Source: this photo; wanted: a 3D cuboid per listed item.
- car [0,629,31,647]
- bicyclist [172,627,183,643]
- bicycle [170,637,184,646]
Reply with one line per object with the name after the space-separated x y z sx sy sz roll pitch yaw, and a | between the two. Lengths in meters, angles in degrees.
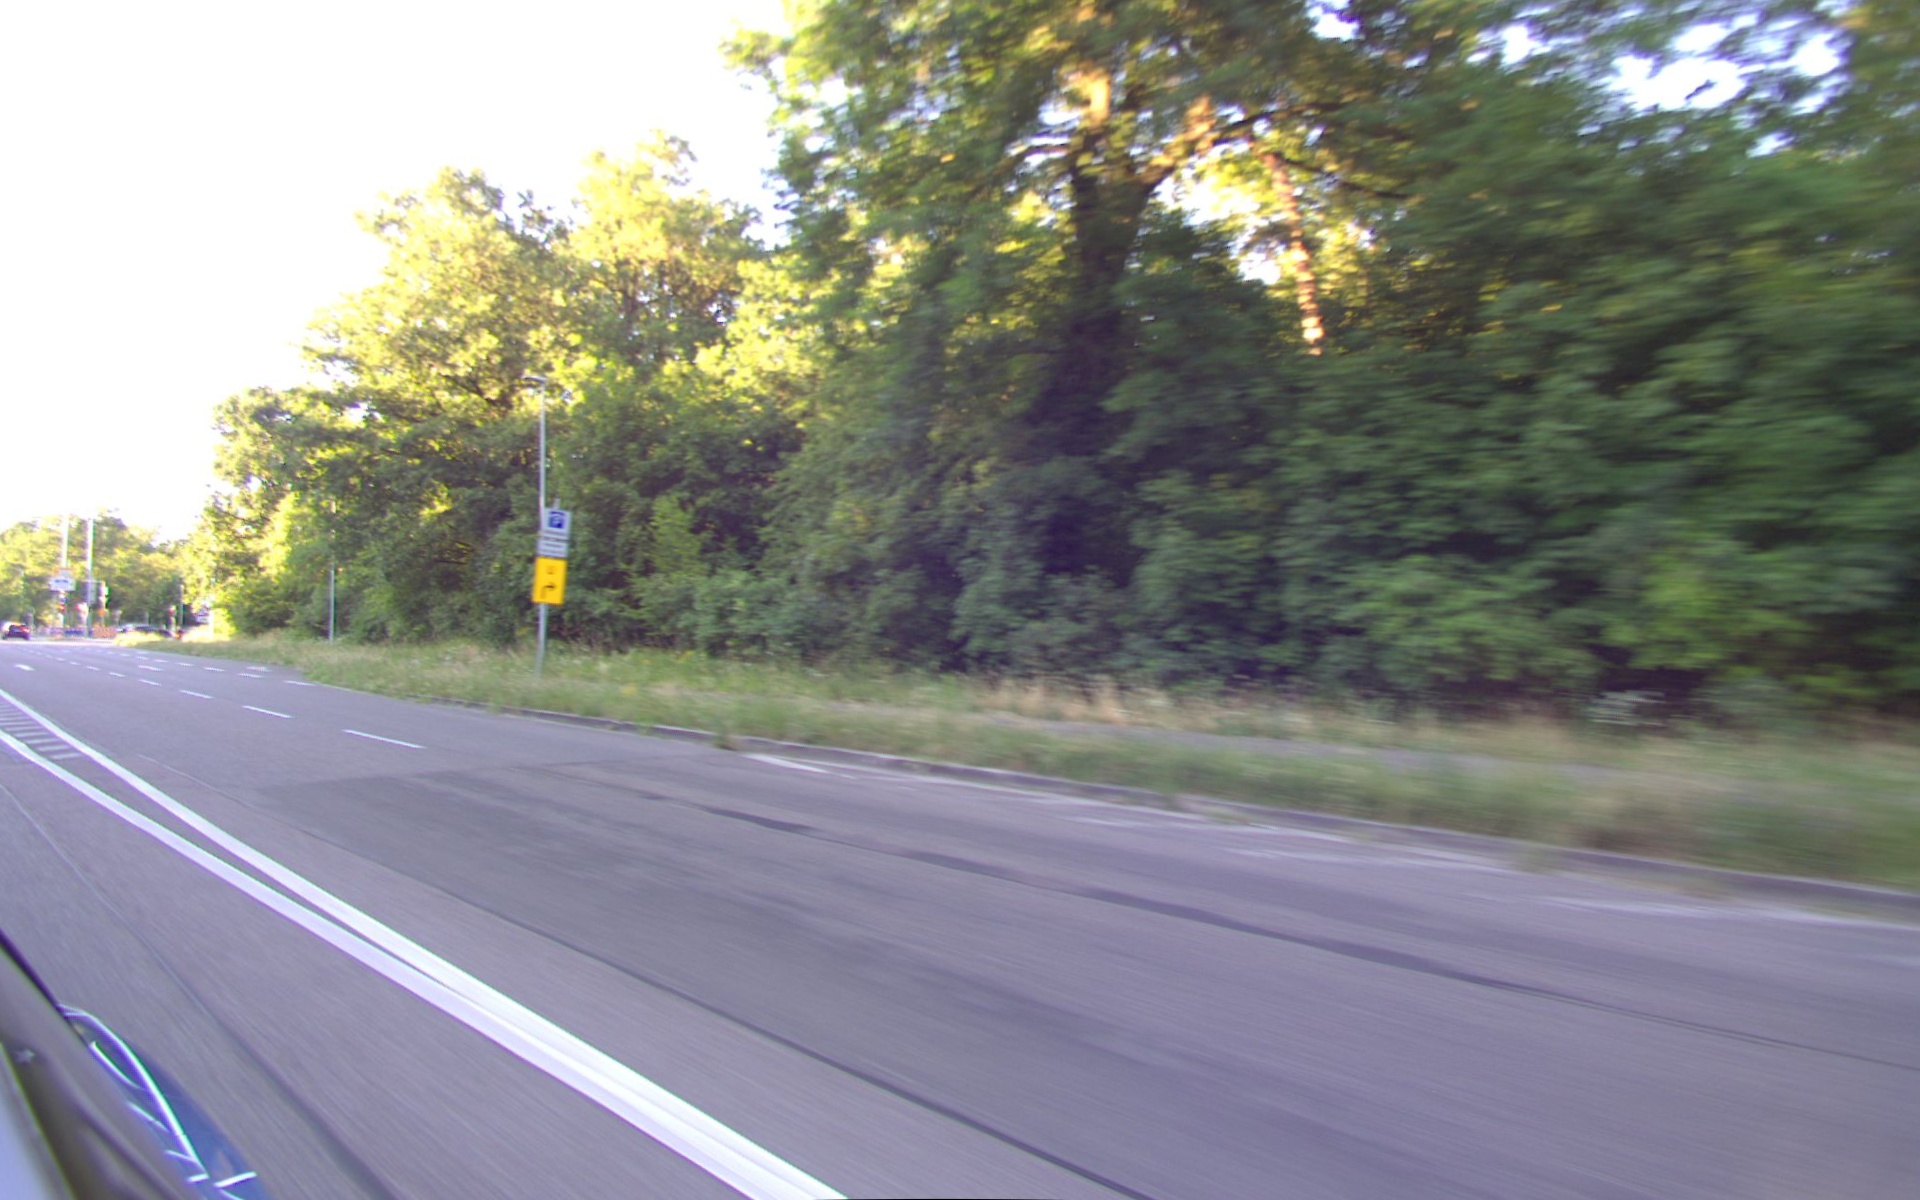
-83.922 3.375 89.788 1.796 1.545 4.463 4 -4 -39 | car
-72.845 3.274 94.187 0.577 1.440 0.825 2 -2 -25 | bicyclist
-72.752 3.846 94.010 0.577 0.810 1.965 2 -2 -25 | bicycle
